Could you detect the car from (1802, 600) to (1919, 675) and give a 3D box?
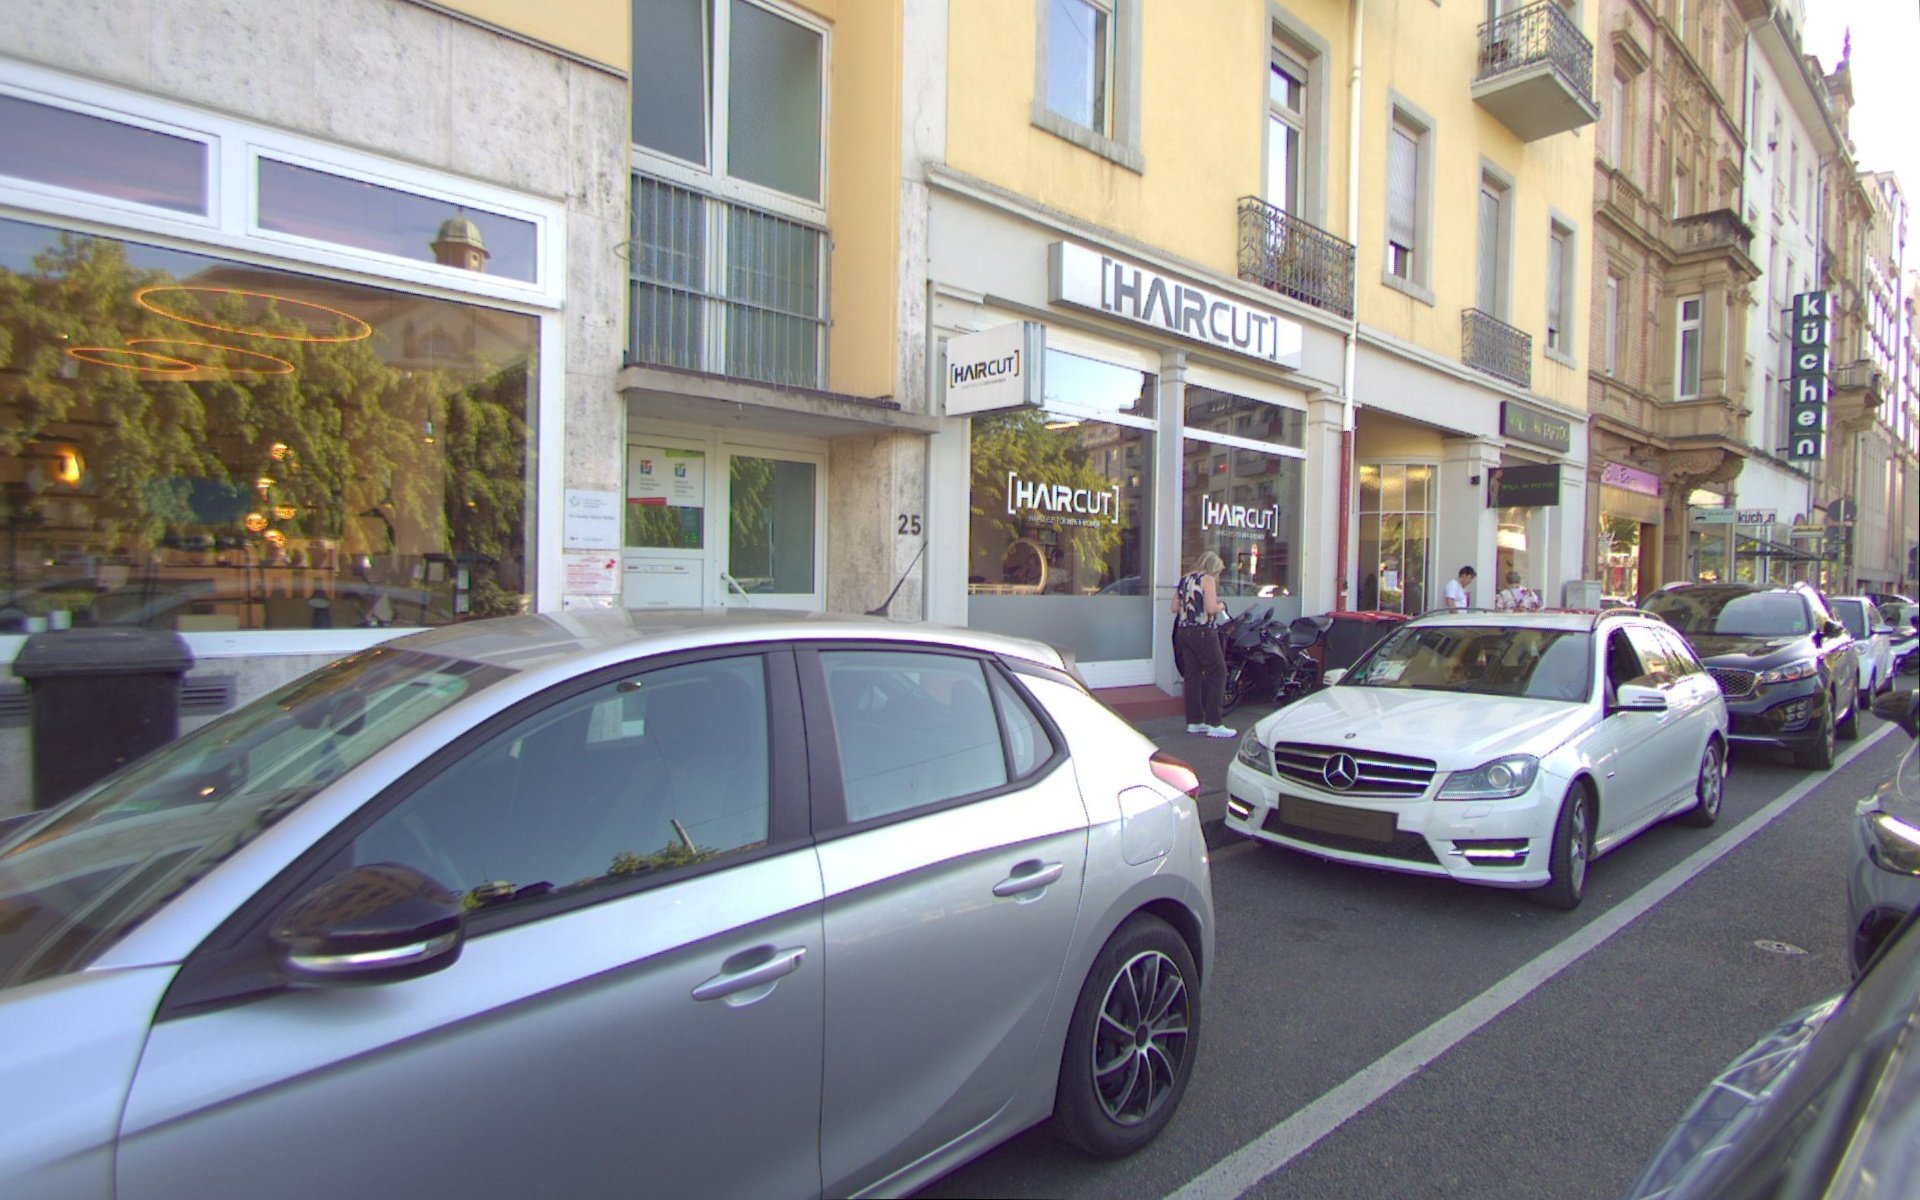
[{"bbox_3d":[18.142,0.671,19.980,4.016,1.282,1.800,-1,1,-42],"label":"car"}]

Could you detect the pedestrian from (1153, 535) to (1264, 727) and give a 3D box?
[{"bbox_3d":[2.275,0.252,9.282,0.595,1.674,0.719,0,3,-40],"label":"pedestrian"}]

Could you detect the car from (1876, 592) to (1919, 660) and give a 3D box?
[{"bbox_3d":[22.237,0.550,23.063,4.016,1.450,1.657,-1,0,-42],"label":"car"}]

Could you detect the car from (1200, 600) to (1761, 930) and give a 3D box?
[{"bbox_3d":[3.517,0.710,6.432,4.302,1.376,1.703,-1,1,-41],"label":"car"}]

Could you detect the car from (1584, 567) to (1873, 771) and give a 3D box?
[{"bbox_3d":[7.983,0.534,10.360,4.176,1.659,1.799,-1,1,-45],"label":"car"}]

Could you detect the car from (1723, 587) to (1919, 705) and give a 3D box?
[{"bbox_3d":[13.121,0.580,15.318,4.016,1.546,1.800,-1,0,-42],"label":"car"}]

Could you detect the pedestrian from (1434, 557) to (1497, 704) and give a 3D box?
[{"bbox_3d":[7.035,0.413,14.088,0.679,2.008,0.375,1,1,-18],"label":"pedestrian"}]

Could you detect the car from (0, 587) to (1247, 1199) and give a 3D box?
[{"bbox_3d":[-1.010,0.698,2.302,3.597,1.445,1.549,-1,1,-42],"label":"car"}]

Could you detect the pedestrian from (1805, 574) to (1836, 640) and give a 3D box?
[{"bbox_3d":[24.920,0.194,29.314,0.653,1.874,0.574,0,0,-40],"label":"pedestrian"}]

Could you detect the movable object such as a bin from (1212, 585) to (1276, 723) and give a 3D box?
[{"bbox_3d":[2.692,0.496,9.599,0.387,1.253,0.391,0,3,-41],"label":"movable object such as a bin"}]

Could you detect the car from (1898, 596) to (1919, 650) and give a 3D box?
[{"bbox_3d":[26.607,0.590,27.161,3.773,1.357,1.800,-1,1,-42],"label":"car"}]

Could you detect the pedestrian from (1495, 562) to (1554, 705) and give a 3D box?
[{"bbox_3d":[7.615,0.435,13.676,0.567,1.874,0.661,0,0,19],"label":"pedestrian"}]

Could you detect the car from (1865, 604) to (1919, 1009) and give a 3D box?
[{"bbox_3d":[5.279,0.706,4.209,3.930,1.376,1.801,-1,1,-41],"label":"car"}]

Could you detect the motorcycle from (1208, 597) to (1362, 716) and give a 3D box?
[{"bbox_3d":[3.407,0.536,10.513,1.920,1.091,0.567,-1,4,-41],"label":"motorcycle"}]
